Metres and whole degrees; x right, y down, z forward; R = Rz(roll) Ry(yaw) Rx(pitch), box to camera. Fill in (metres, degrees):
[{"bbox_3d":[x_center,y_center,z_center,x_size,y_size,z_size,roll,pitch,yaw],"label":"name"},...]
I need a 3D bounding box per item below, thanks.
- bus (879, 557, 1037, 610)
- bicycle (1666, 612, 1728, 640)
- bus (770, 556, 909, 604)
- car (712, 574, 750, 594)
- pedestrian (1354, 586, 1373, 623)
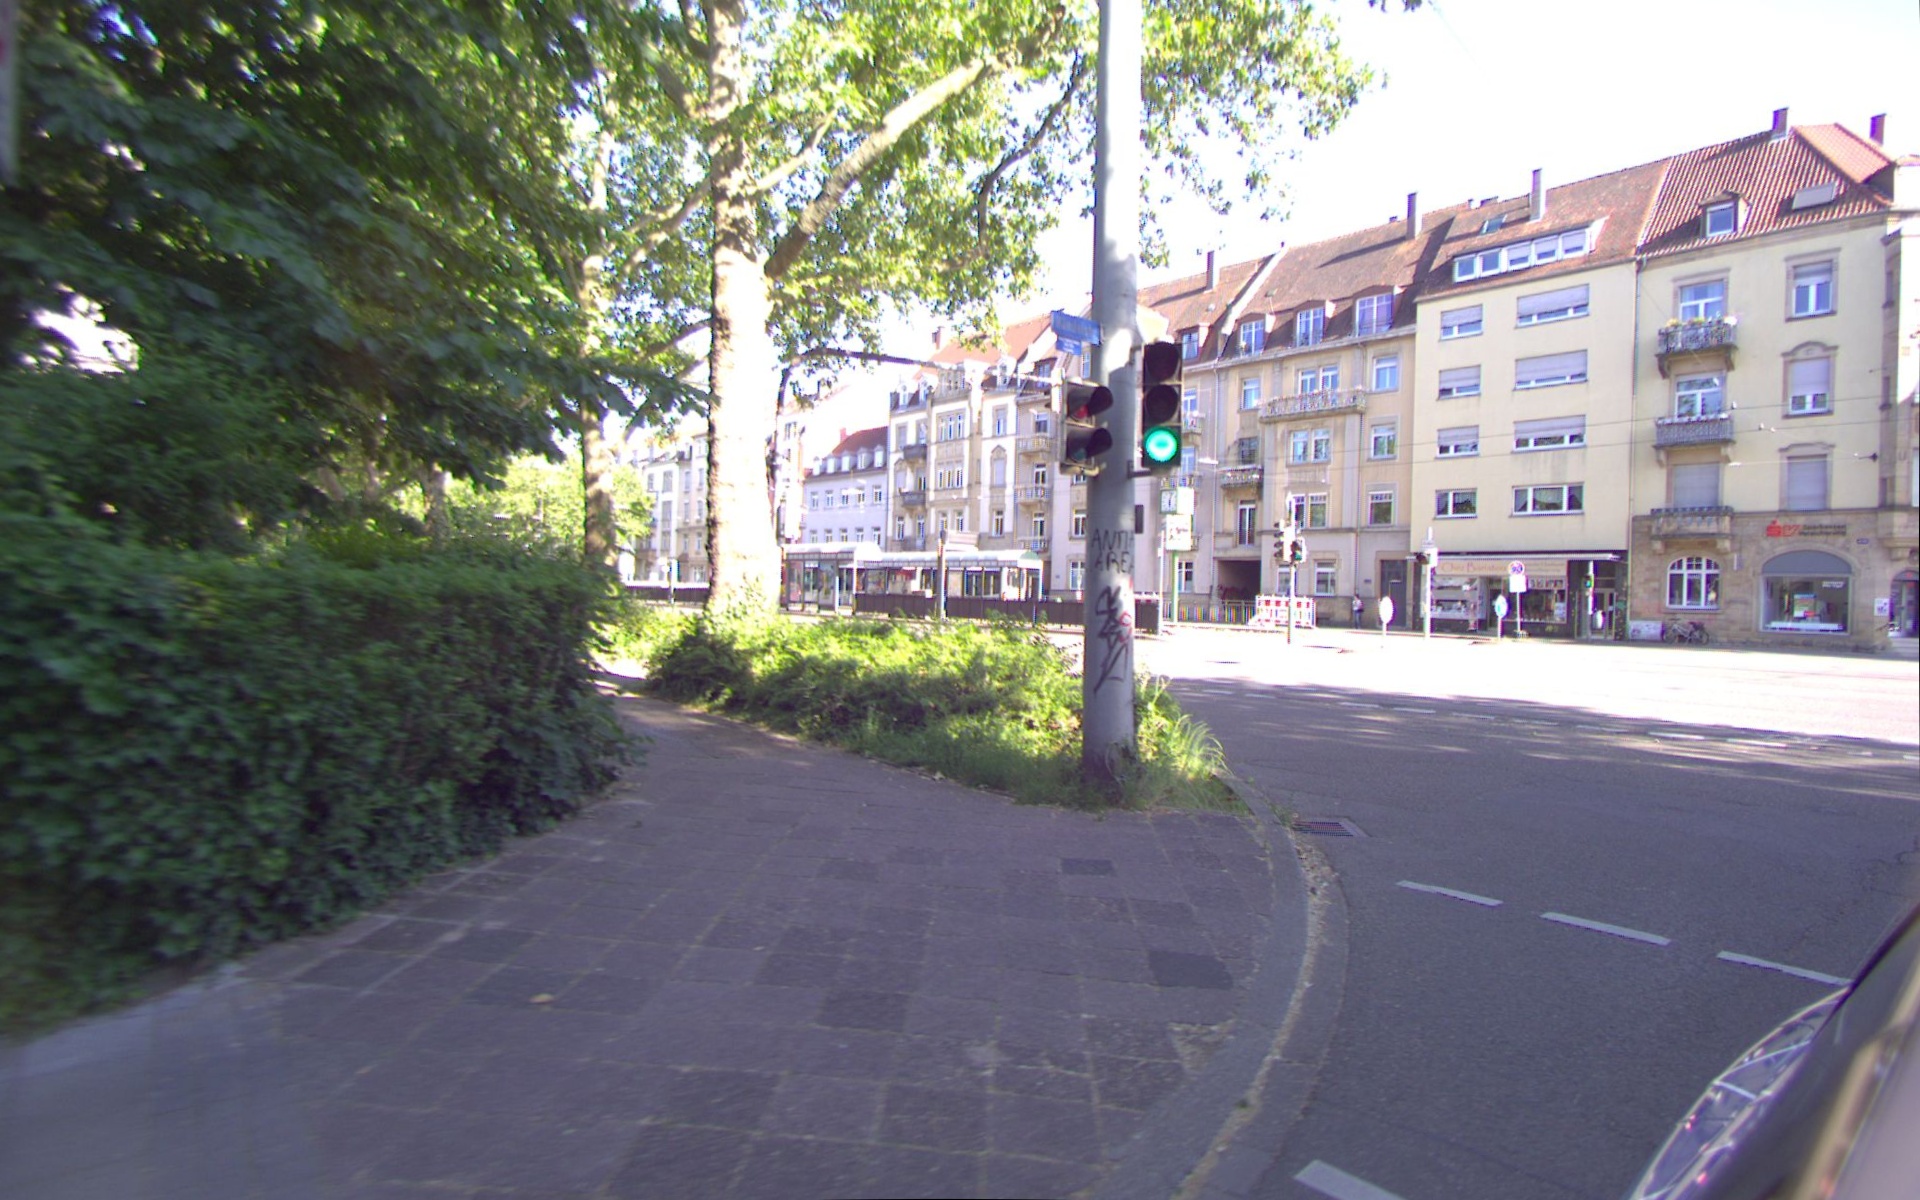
[{"bbox_3d":[-0.281,-1.115,66.071,10.627,3.072,3.090,2,0,38],"label":"bus"},{"bbox_3d":[29.667,1.041,40.789,0.507,0.987,1.951,-1,2,-40],"label":"bicycle"},{"bbox_3d":[-8.773,-1.474,72.665,10.806,3.055,3.053,2,0,38],"label":"bus"},{"bbox_3d":[-21.542,-1.515,95.124,1.770,1.812,3.992,3,0,-42],"label":"car"},{"bbox_3d":[20.420,0.233,51.207,0.695,1.826,0.521,2,0,-37],"label":"pedestrian"}]
